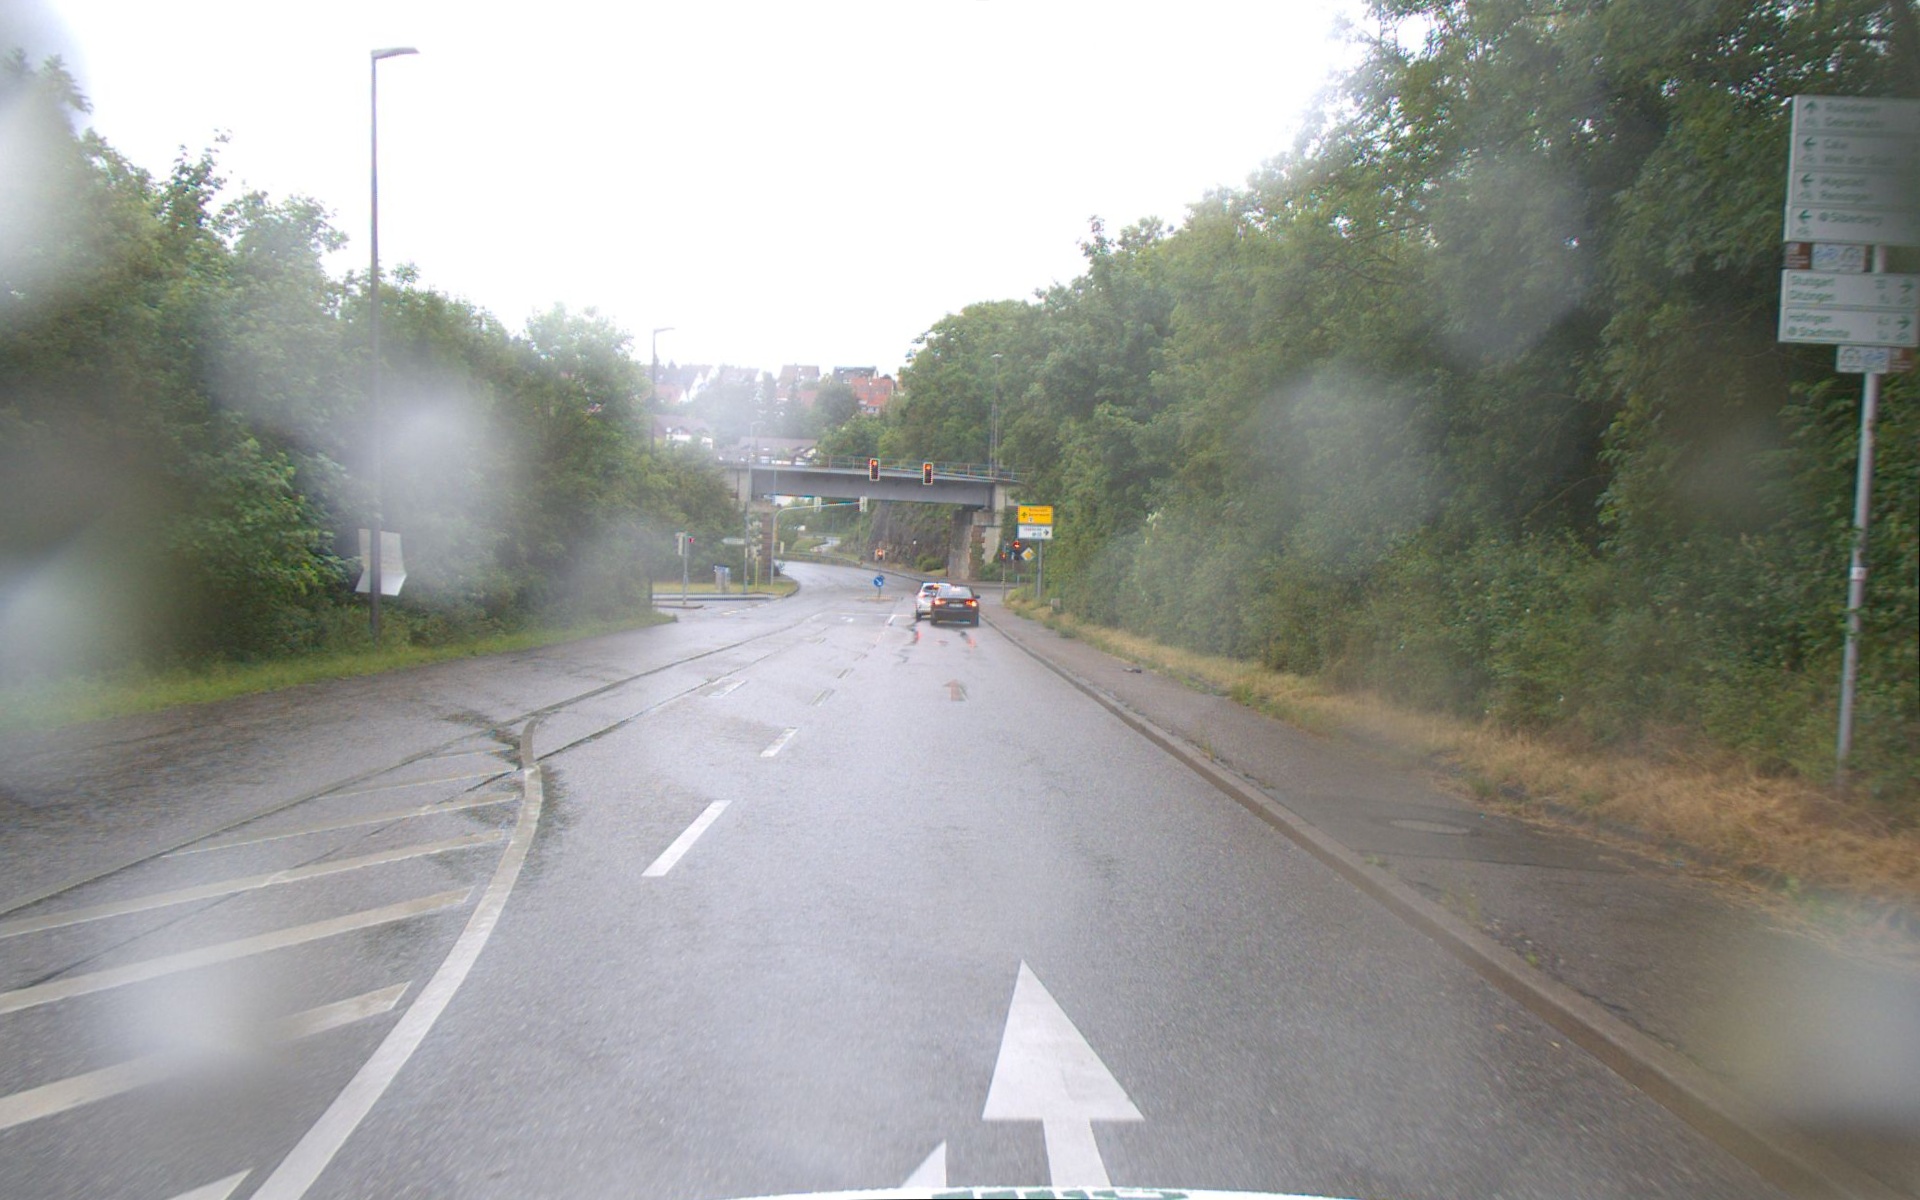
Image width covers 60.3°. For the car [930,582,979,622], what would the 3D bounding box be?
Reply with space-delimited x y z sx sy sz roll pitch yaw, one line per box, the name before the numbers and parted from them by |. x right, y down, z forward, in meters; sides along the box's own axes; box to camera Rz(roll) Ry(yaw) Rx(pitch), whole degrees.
car | -0.194 0.057 60.755 1.732 1.404 4.000 0 0 0

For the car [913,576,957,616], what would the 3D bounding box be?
car | -0.998 -0.178 67.410 1.732 1.590 4.000 0 0 0
